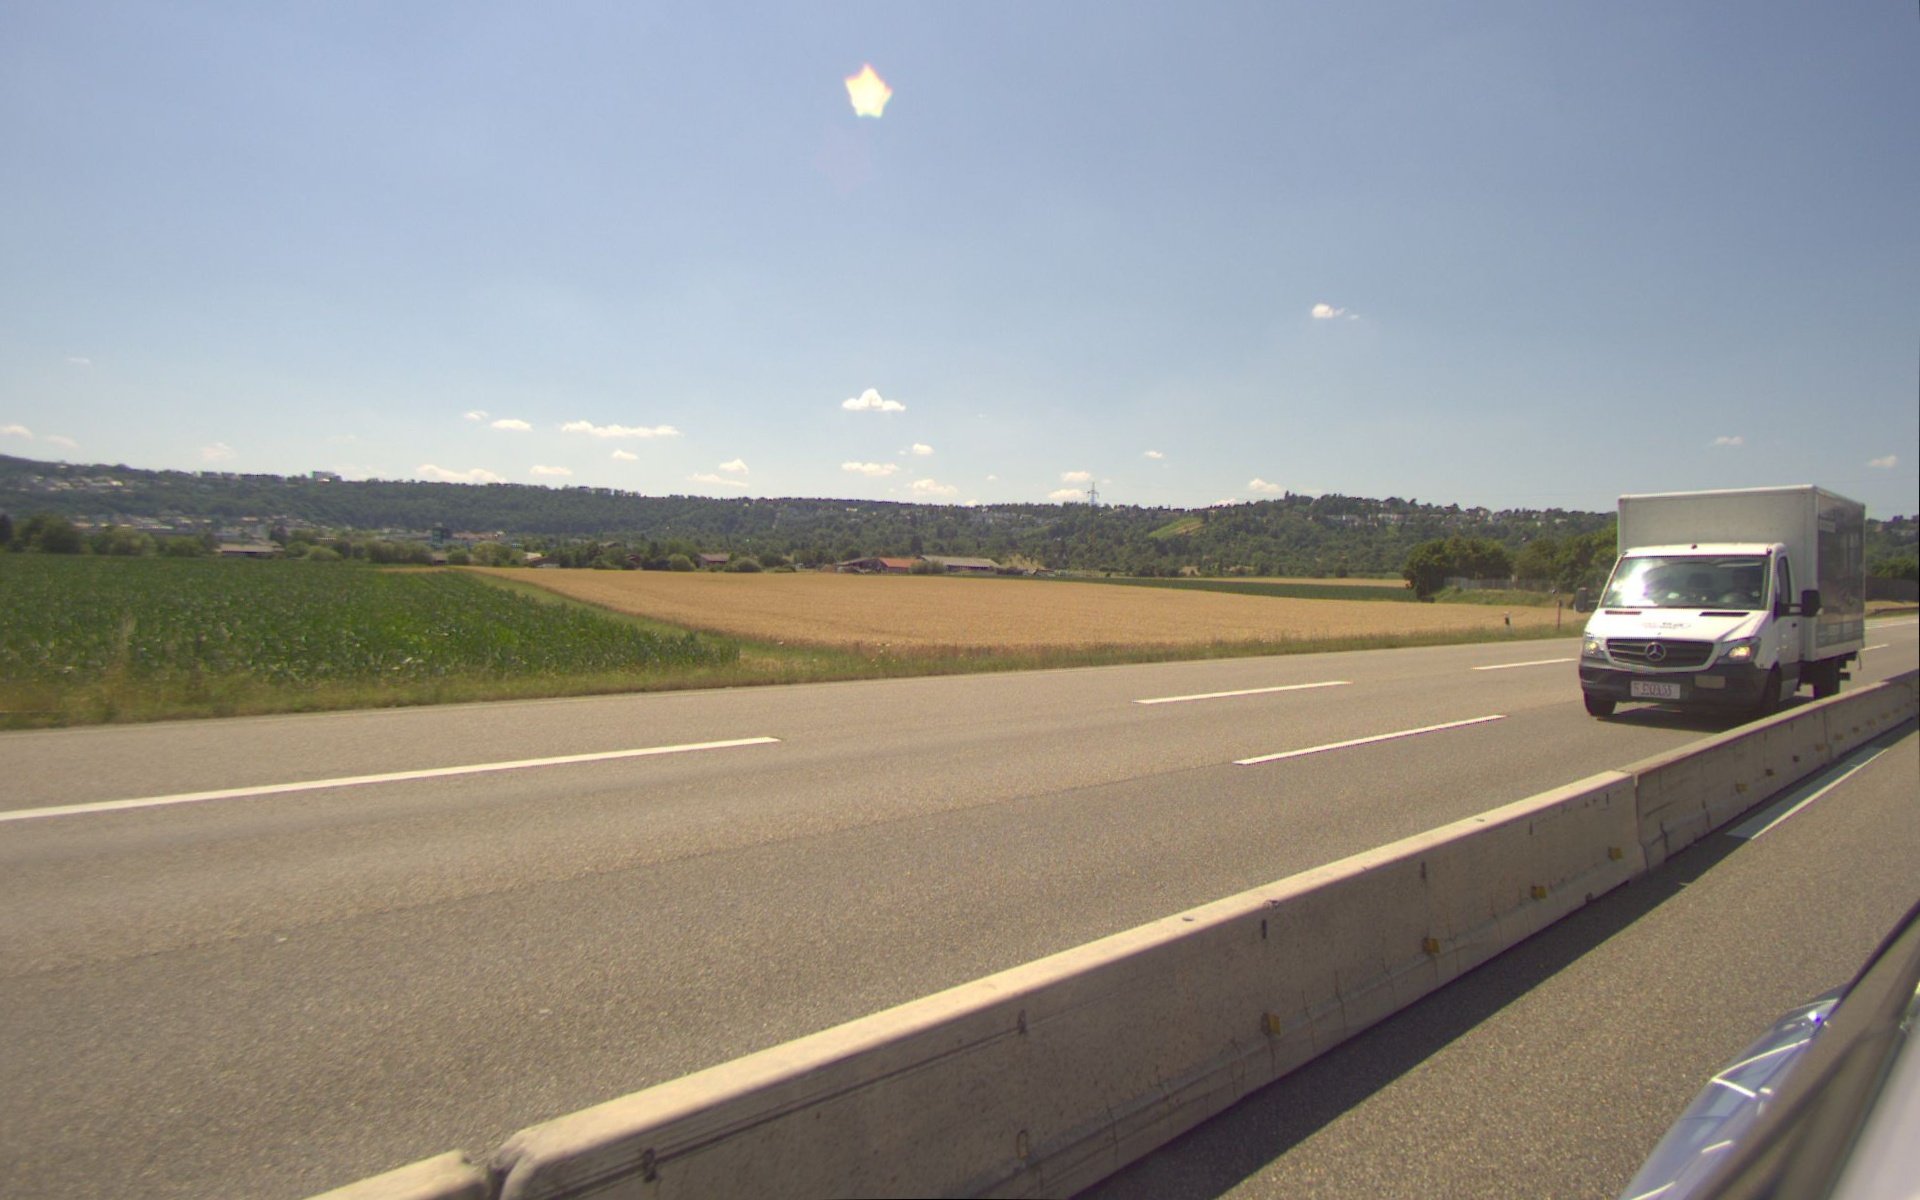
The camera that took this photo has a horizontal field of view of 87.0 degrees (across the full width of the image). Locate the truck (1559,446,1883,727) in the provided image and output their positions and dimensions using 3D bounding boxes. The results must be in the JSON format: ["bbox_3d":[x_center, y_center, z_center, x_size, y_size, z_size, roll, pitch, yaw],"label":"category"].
[{"bbox_3d":[10.929,-0.118,14.258,6.632,3.106,2.325,1,-1,-41],"label":"truck"}]
